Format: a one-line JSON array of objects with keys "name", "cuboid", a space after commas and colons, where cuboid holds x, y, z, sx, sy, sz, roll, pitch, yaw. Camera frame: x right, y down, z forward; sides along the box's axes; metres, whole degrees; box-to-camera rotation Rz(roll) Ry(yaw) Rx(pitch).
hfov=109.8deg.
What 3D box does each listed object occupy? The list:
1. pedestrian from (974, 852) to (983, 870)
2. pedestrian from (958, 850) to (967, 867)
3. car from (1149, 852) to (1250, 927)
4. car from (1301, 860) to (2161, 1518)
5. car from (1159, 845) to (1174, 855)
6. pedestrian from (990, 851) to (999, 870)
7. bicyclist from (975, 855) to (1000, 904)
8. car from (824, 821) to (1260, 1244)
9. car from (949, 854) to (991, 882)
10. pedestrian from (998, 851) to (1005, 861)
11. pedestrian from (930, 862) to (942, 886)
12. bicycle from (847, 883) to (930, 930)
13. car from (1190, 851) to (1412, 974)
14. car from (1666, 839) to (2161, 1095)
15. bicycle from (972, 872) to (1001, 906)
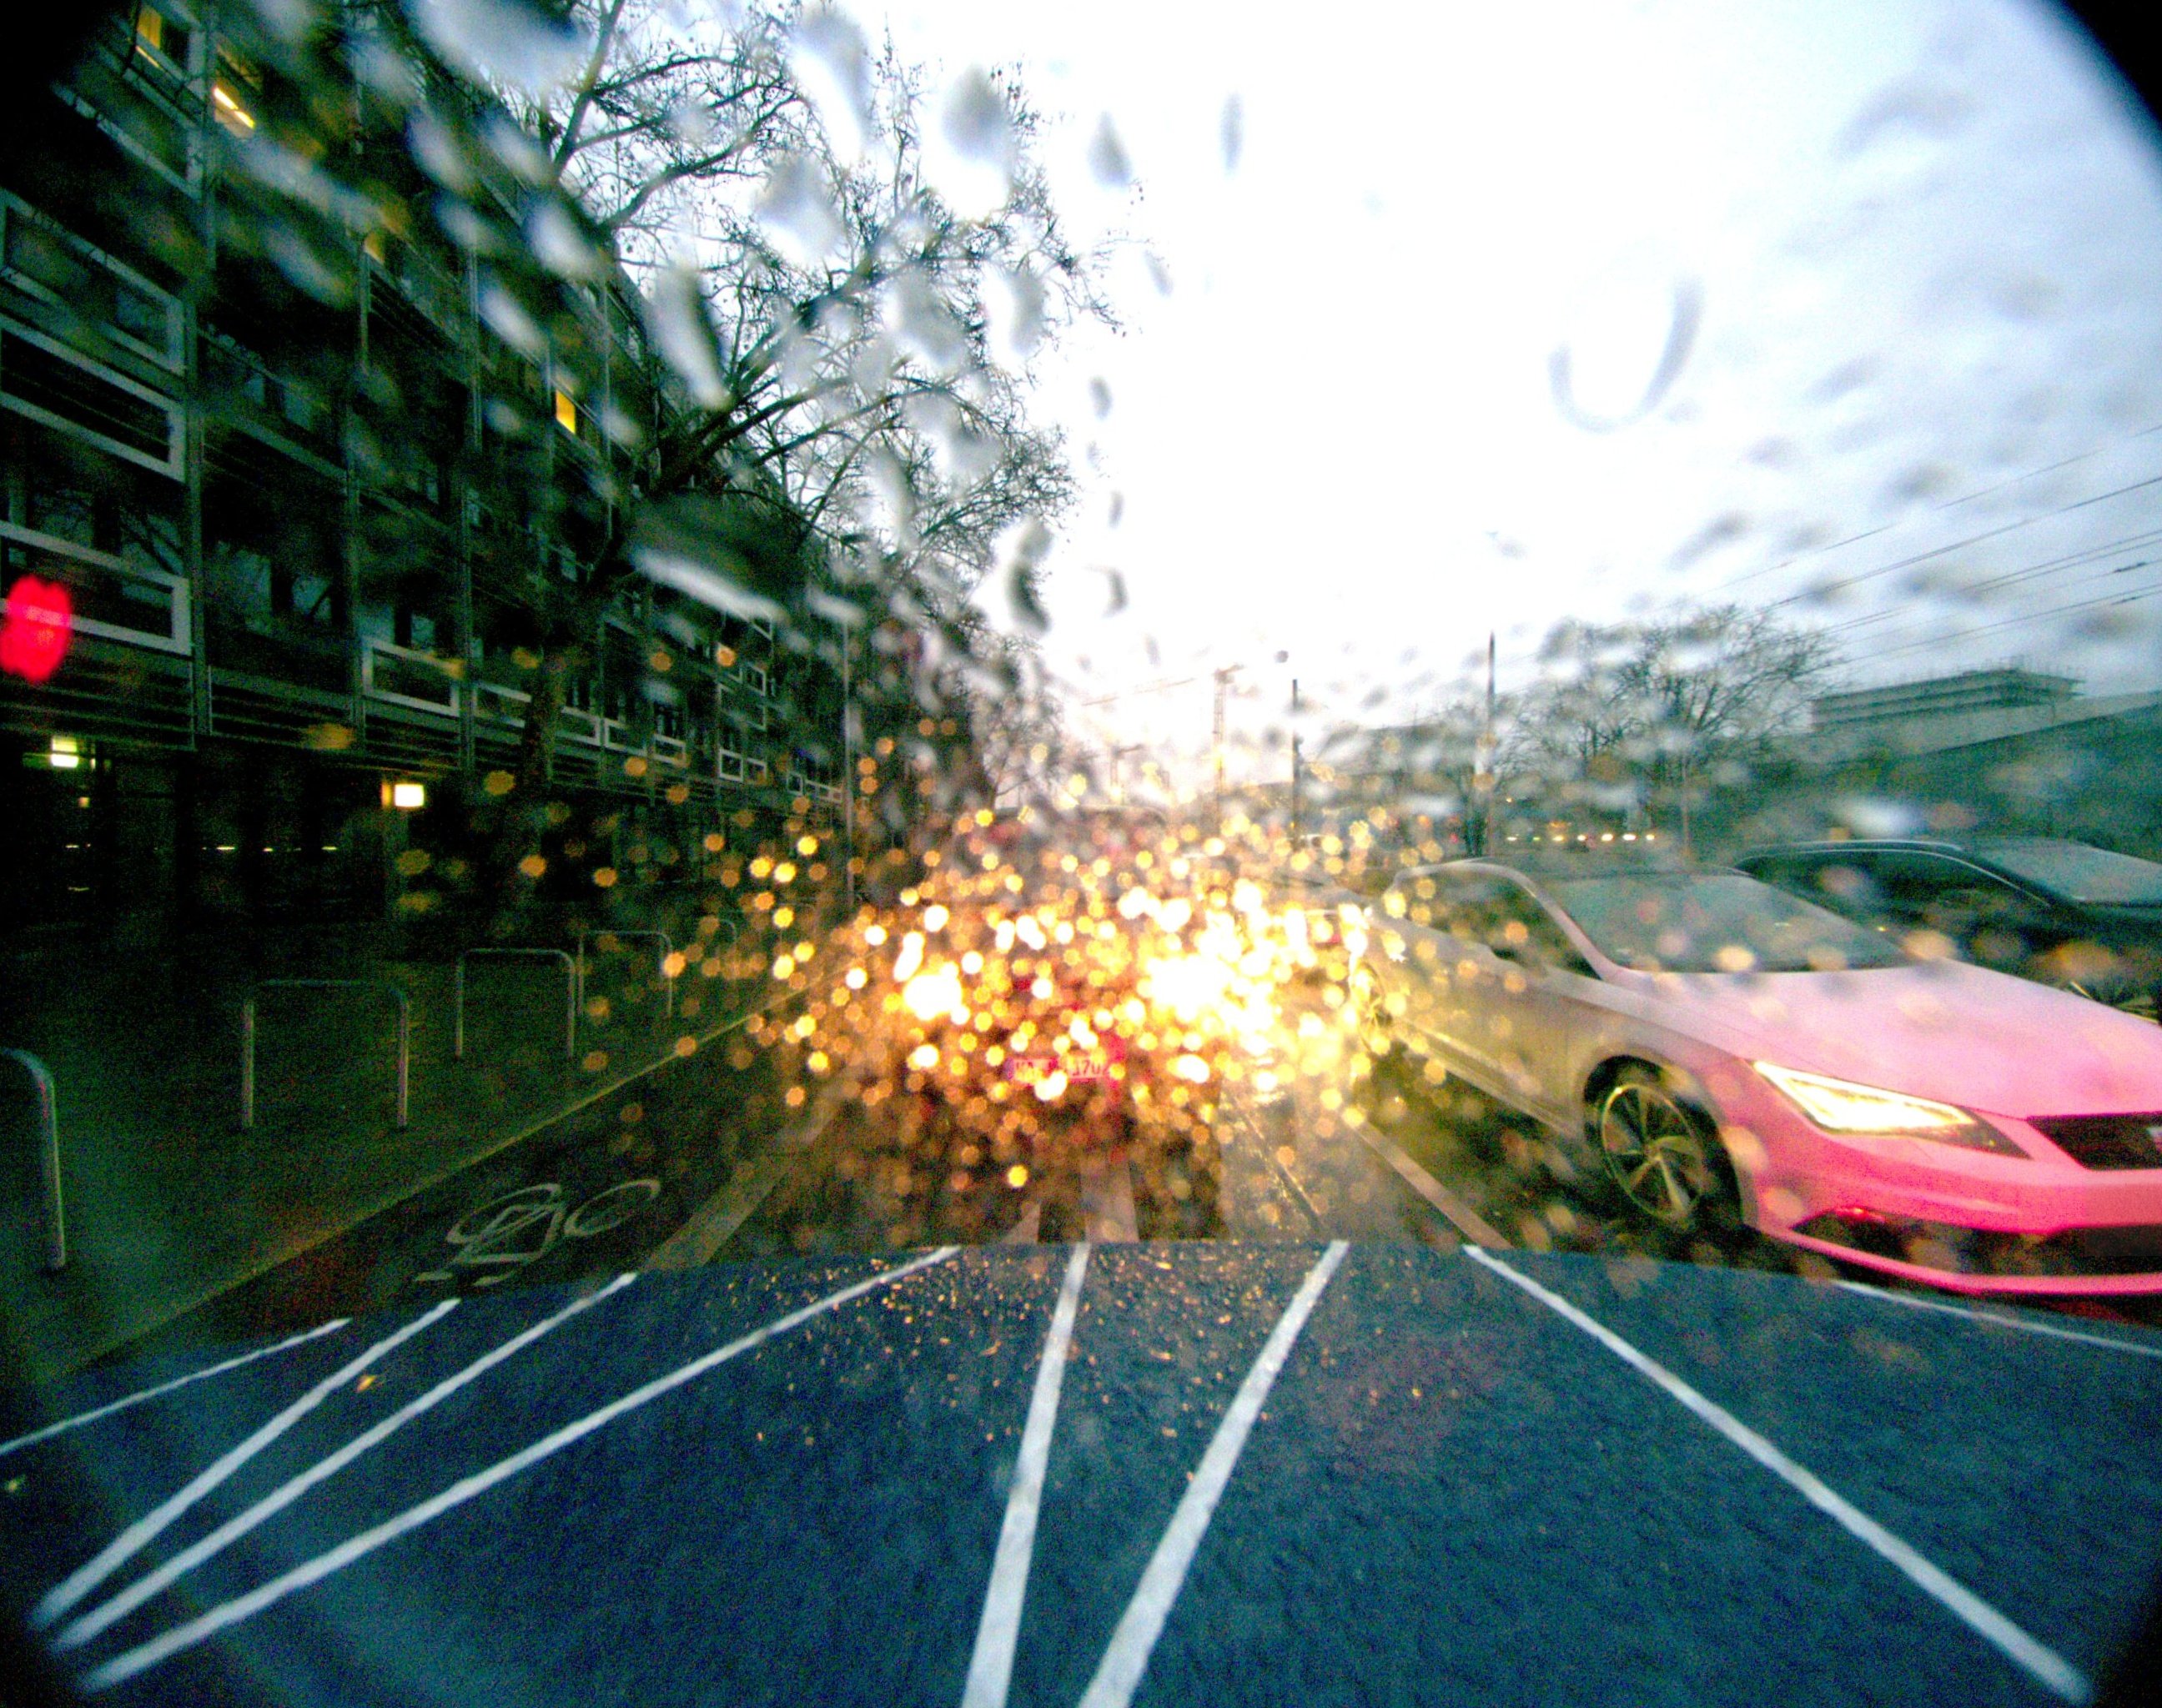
[{"name": "pedestrian", "cuboid": [-9.970, 0.660, 74.118, 0.766, 1.740, 0.928, 0, 1, -4]}, {"name": "pedestrian", "cuboid": [-12.072, 0.441, 77.513, 0.766, 1.740, 0.928, 0, 1, -4]}, {"name": "car", "cuboid": [2.842, 0.798, 19.113, 1.907, 1.565, 3.999, -2, 1, 1]}, {"name": "car", "cuboid": [2.984, 0.841, 4.164, 1.949, 1.478, 4.504, -2, 0, -4]}, {"name": "car", "cuboid": [16.619, -0.710, 147.516, 2.095, 1.884, 3.997, -1, 1, -7]}, {"name": "pedestrian", "cuboid": [-8.120, 0.616, 71.667, 0.766, 1.740, 0.928, 0, 1, -4]}, {"name": "bicyclist", "cuboid": [-3.224, 0.880, 26.249, 0.704, 1.650, 0.964, -1, 0, 1]}, {"name": "car", "cuboid": [-0.182, 0.781, 5.403, 1.878, 1.830, 3.999, -2, 1, 0]}, {"name": "car", "cuboid": [-6.272, 0.748, 43.359, 1.713, 1.455, 3.999, -2, 1, 1]}, {"name": "pedestrian", "cuboid": [-10.557, 0.227, 101.336, 0.782, 1.330, 0.751, -2, 1, 1]}, {"name": "pedestrian", "cuboid": [-10.541, 1.442, 55.274, 0.766, 1.740, 0.928, 0, 1, -4]}, {"name": "bicycle", "cuboid": [-4.451, 1.210, 17.655, 1.704, 0.987, 0.879, 1, 1, 0]}, {"name": "car", "cuboid": [3.012, 0.703, 11.520, 1.999, 1.478, 4.505, -1, 0, -1]}, {"name": "car", "cuboid": [7.357, 0.653, 5.980, 1.853, 1.499, 4.662, -1, 1, -1]}, {"name": "bicycle", "cuboid": [-3.231, 1.175, 26.168, 0.710, 1.088, 1.784, -1, 0, 1]}]
